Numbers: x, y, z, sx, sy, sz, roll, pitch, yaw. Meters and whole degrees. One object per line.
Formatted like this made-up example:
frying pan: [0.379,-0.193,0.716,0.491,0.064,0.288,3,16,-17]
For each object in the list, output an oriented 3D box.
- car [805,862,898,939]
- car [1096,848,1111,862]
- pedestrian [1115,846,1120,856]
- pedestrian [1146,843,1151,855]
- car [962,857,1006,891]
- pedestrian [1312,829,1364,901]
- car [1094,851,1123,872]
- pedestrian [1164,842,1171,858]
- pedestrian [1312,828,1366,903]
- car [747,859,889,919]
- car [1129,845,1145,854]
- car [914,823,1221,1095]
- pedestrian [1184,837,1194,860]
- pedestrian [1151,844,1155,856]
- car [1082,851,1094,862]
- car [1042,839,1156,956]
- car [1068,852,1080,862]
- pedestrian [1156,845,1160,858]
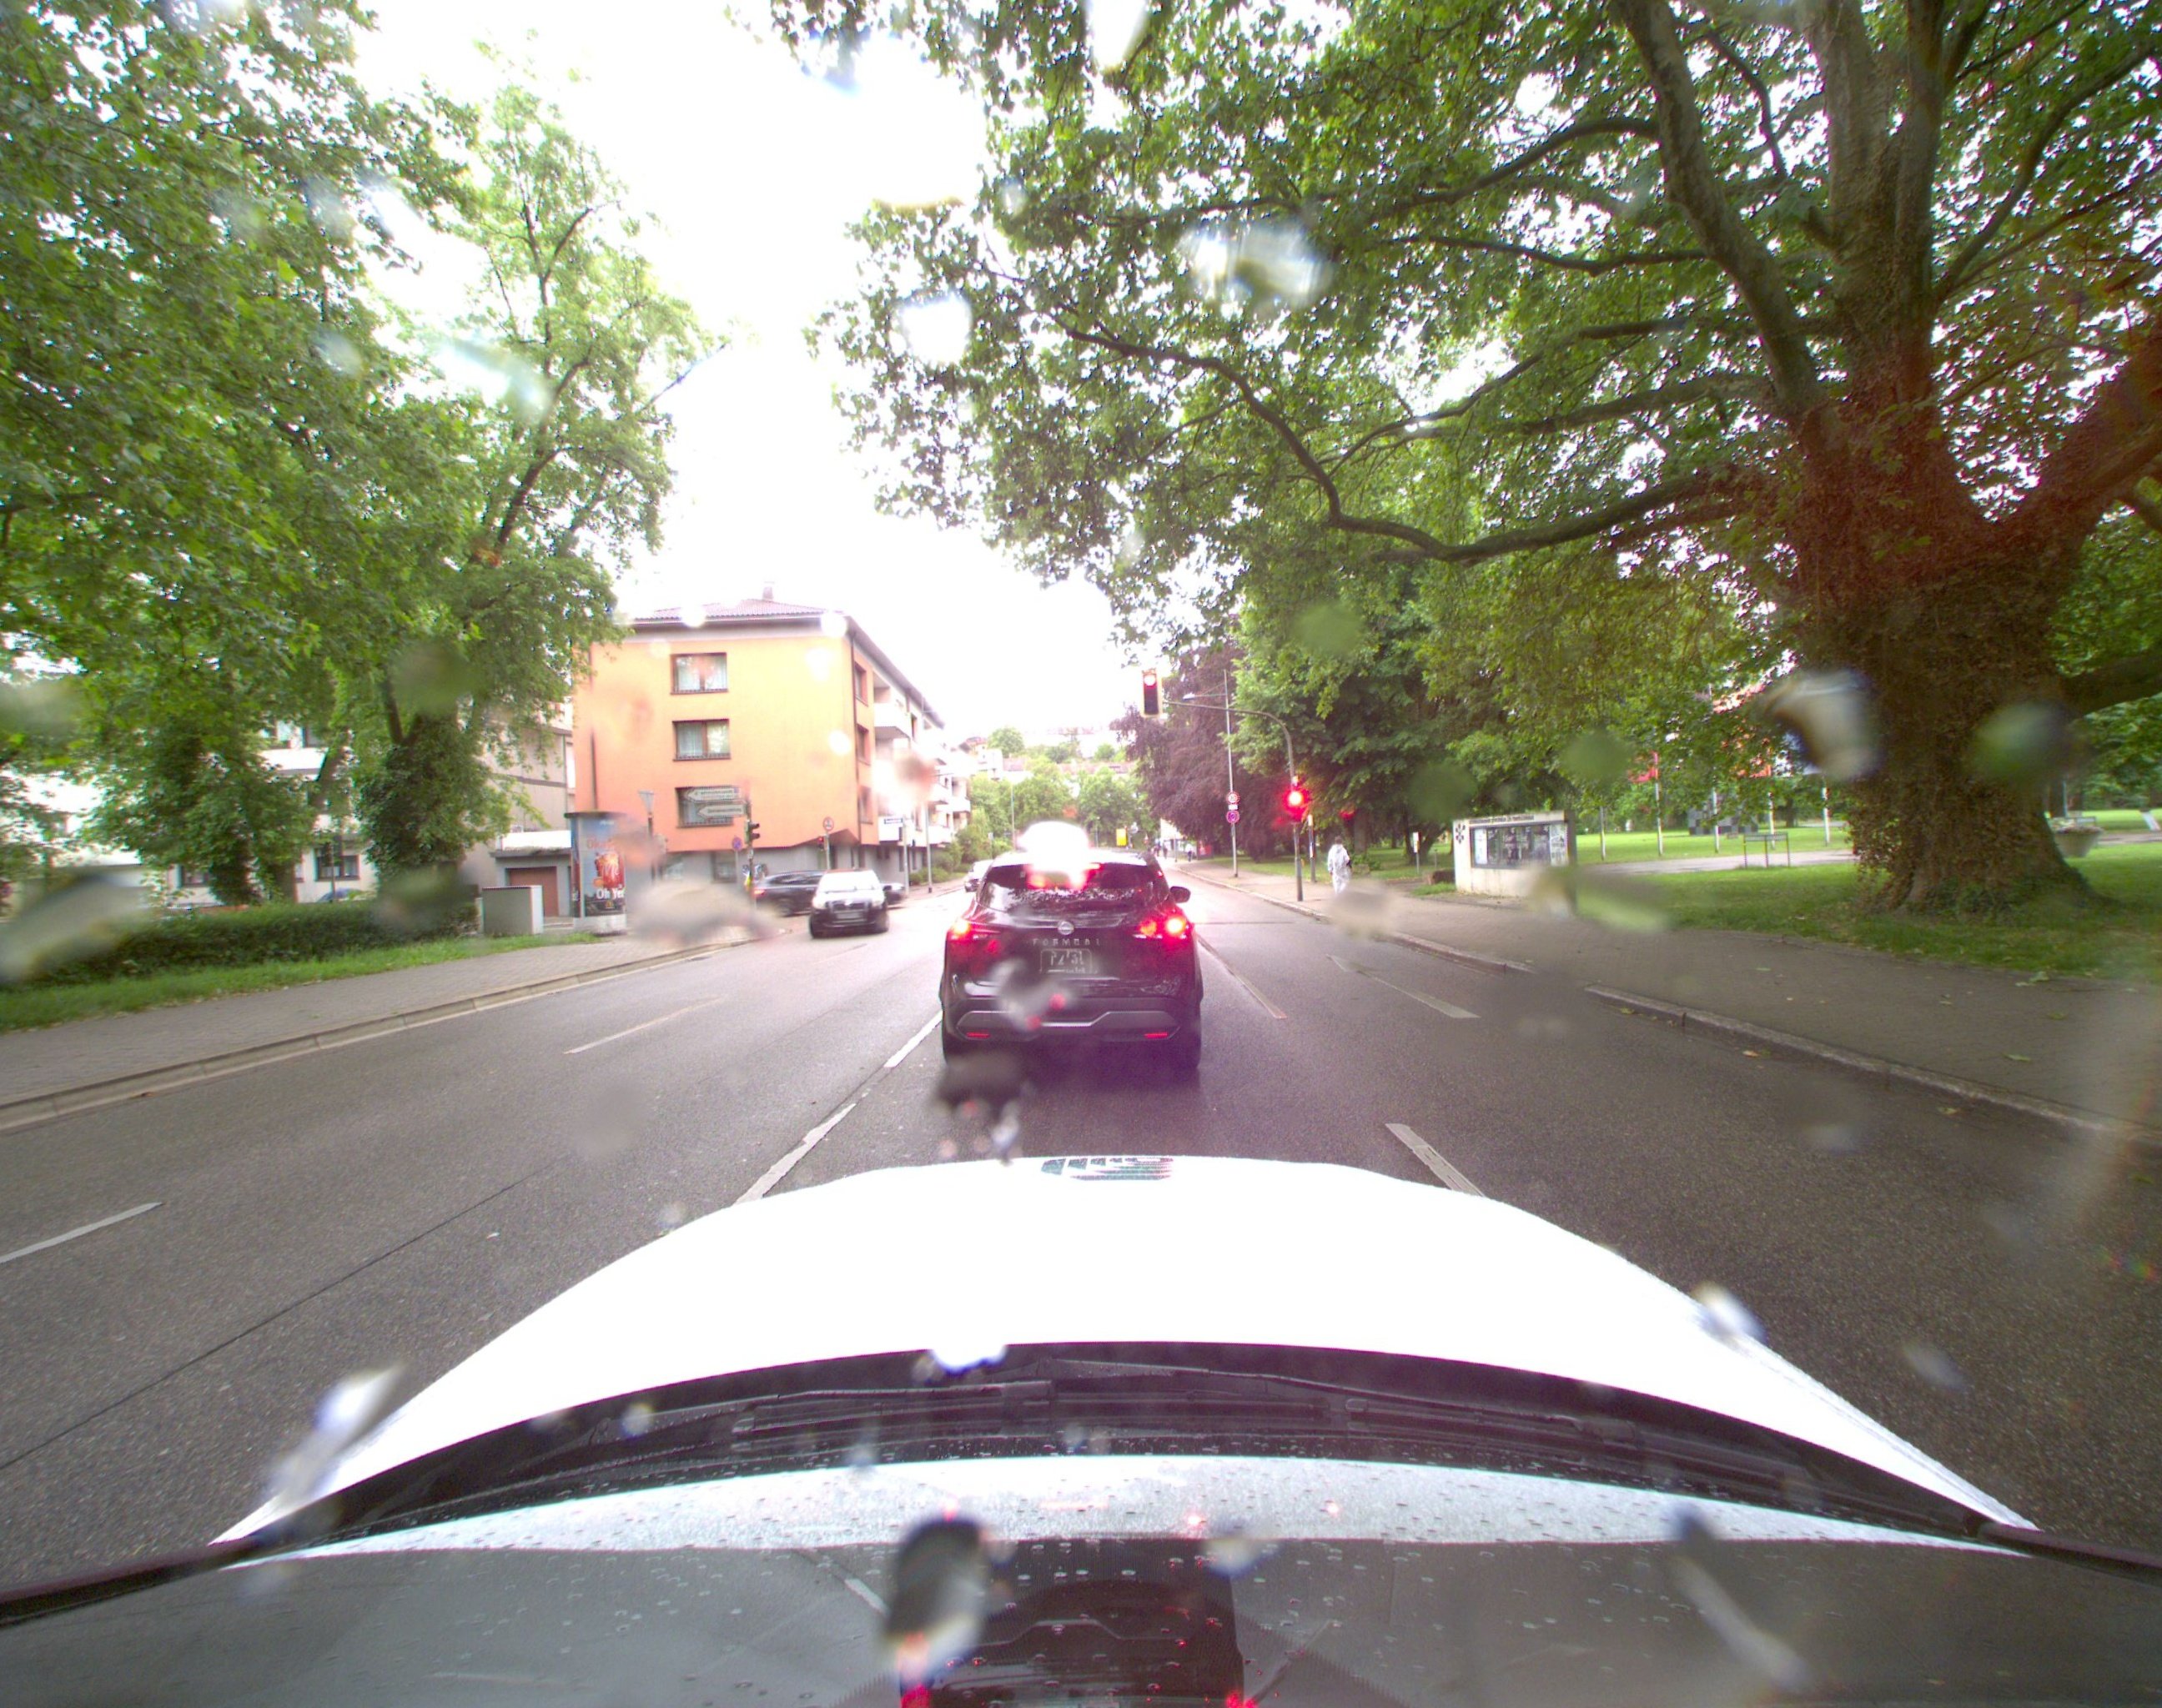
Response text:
car: [-5.396,1.028,19.579,1.797,1.533,3.851,-3,0,-12]
car: [2.752,0.136,98.535,1.628,1.532,3.969,-3,0,2]
pedestrian: [5.987,-0.545,135.187,0.503,1.673,0.663,-3,0,29]
pedestrian: [9.680,-0.704,116.951,0.506,1.802,0.620,-3,0,1]
car: [-4.856,0.964,41.182,1.791,1.533,3.865,-3,0,-2]
pedestrian: [7.079,0.306,22.448,1.035,1.876,0.656,-5,0,-9]
car: [1.989,0.536,59.985,1.821,1.403,4.647,-4,0,-2]
pedestrian: [10.036,-0.421,94.426,0.504,1.802,0.622,-3,0,17]
pedestrian: [6.874,0.302,21.700,1.035,1.876,0.656,-5,0,-9]
car: [-8.857,1.148,27.725,4.301,1.678,1.721,-3,0,-11]
car: [11.036,-0.956,160.399,1.976,1.735,4.022,0,0,23]
car: [-0.017,0.657,7.128,1.906,1.680,4.002,-1,0,2]
pedestrian: [9.682,-0.460,72.985,0.722,2.013,0.852,-3,0,2]
pedestrian: [10.349,-0.573,117.042,0.506,1.802,0.660,-3,0,5]
car: [1.105,0.361,128.060,1.628,1.532,3.969,-3,0,2]
car: [0.346,0.672,14.588,1.692,1.745,3.642,-3,0,2]
car: [-1.194,0.518,140.002,1.963,1.532,3.969,-3,0,2]
pedestrian: [11.025,-0.346,116.852,0.507,1.802,0.619,-3,0,0]
